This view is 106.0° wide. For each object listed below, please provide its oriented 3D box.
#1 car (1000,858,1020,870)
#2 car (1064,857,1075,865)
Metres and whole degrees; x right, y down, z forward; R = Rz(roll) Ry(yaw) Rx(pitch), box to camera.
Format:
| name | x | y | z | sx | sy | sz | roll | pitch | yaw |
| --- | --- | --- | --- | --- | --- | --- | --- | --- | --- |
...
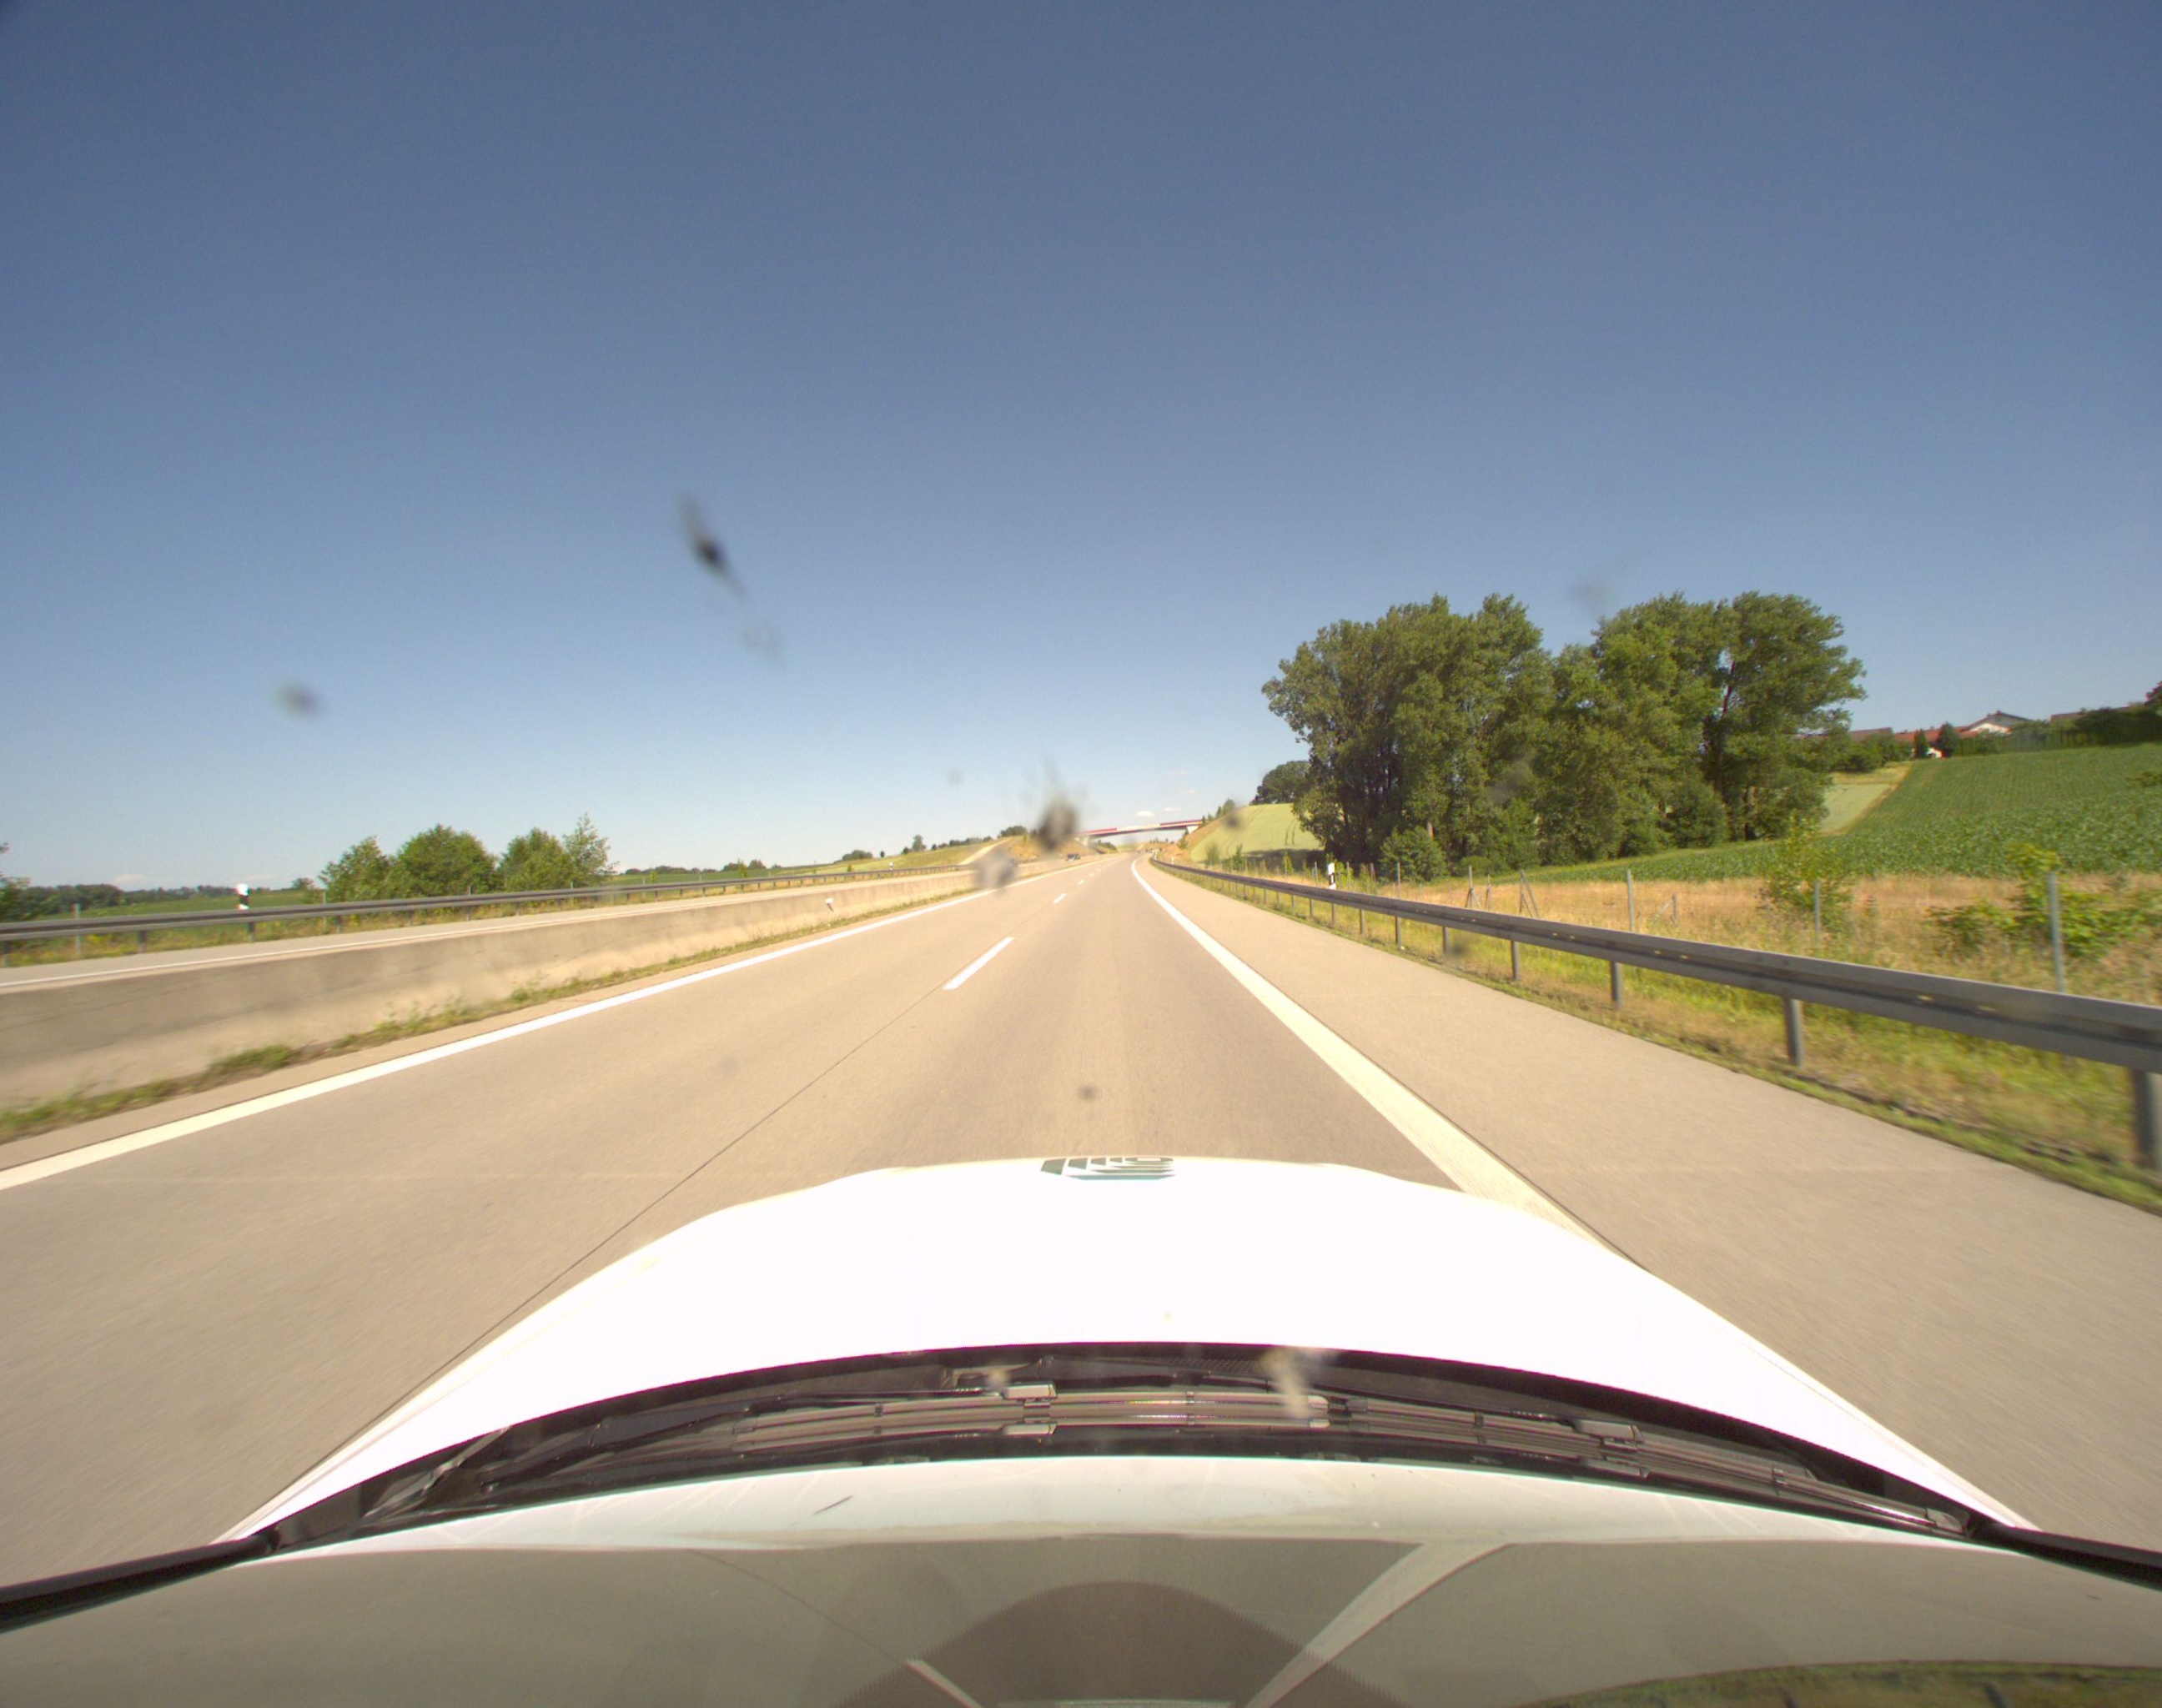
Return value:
| name | x | y | z | sx | sy | sz | roll | pitch | yaw |
| --- | --- | --- | --- | --- | --- | --- | --- | --- | --- |
| car | -8.840 | 1.205 | 101.296 | 1.805 | 1.456 | 4.515 | 0 | -1 | 3 |
| car | -2.327 | 1.403 | 165.329 | 1.804 | 1.615 | 4.682 | 0 | -1 | 4 |
